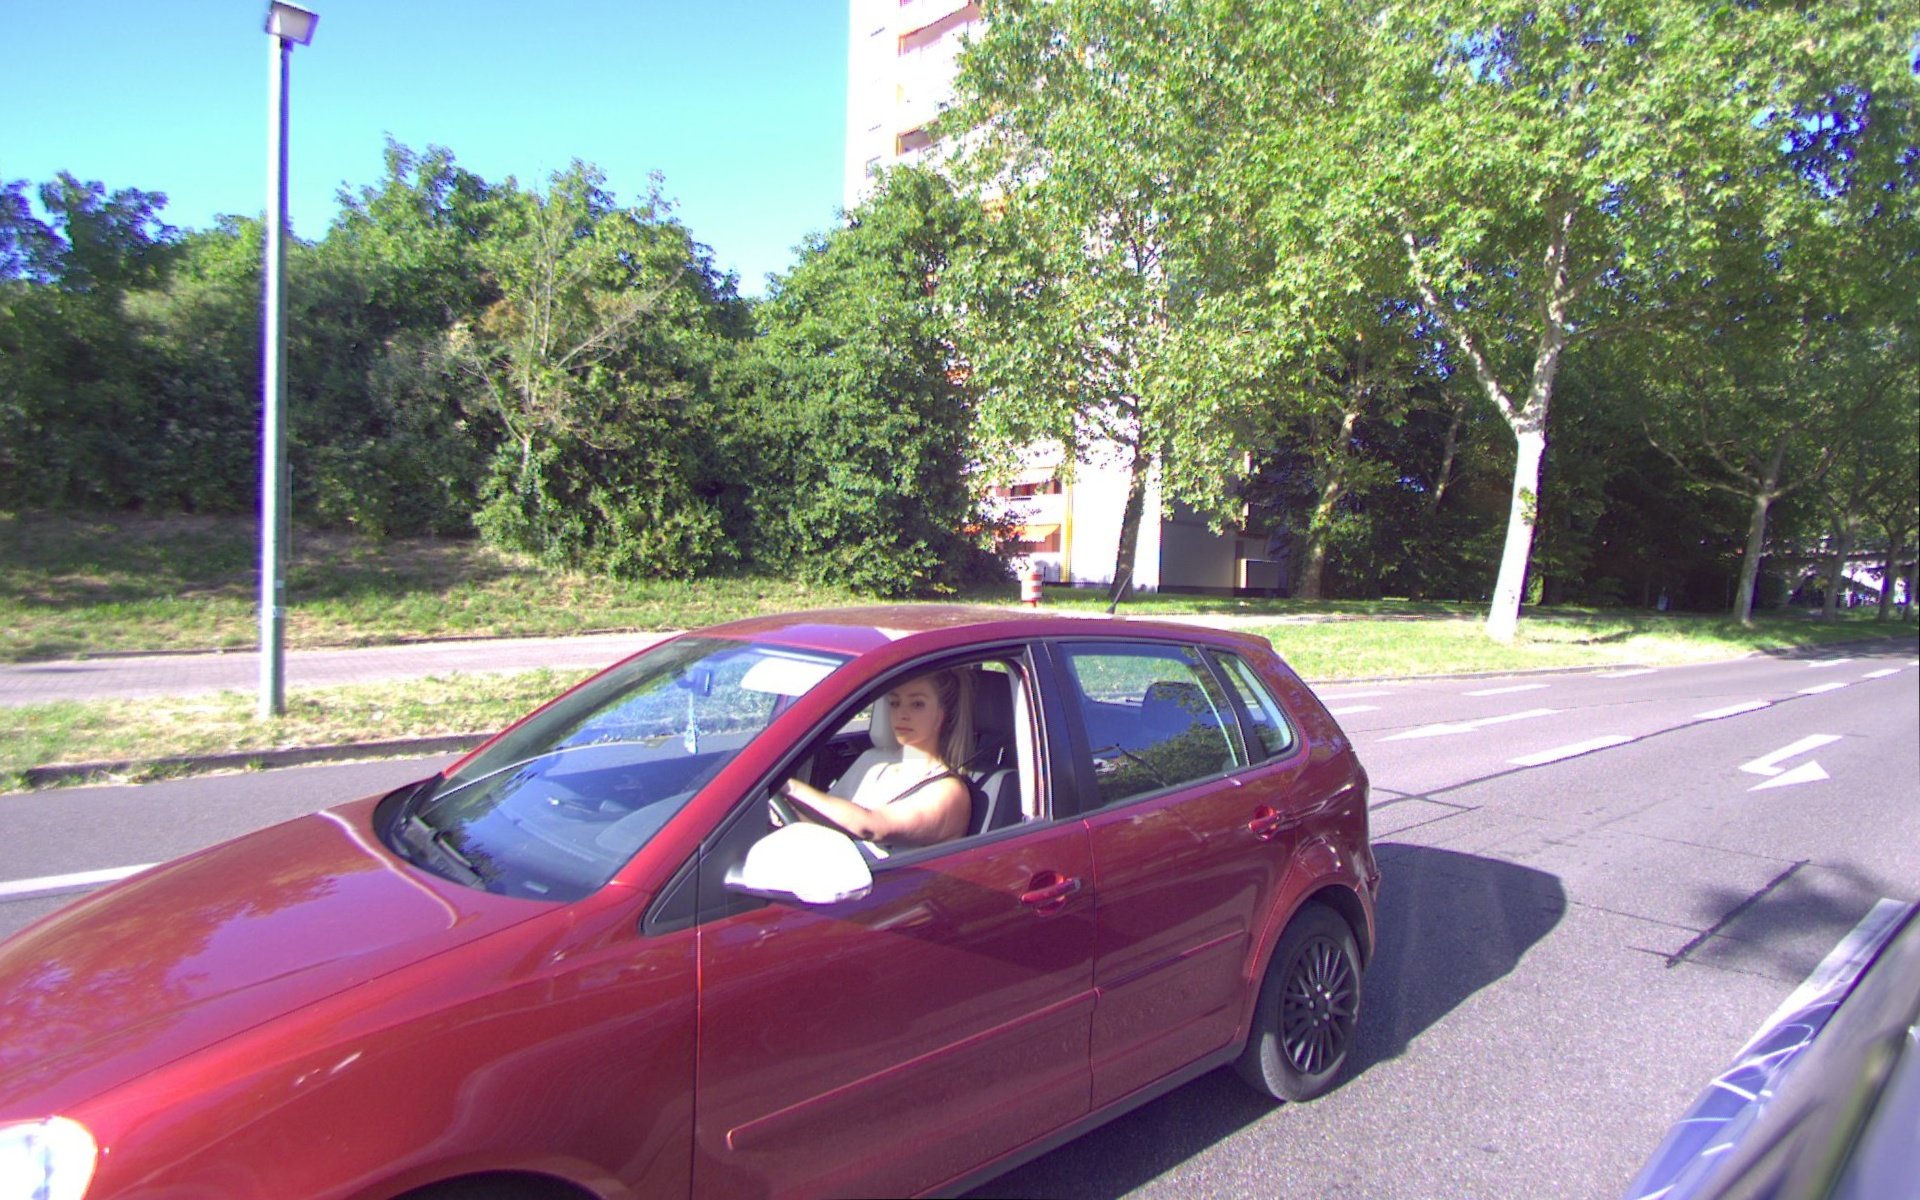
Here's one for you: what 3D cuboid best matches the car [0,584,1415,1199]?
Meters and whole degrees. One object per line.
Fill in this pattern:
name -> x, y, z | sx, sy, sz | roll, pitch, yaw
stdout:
car -> -0.456, 0.697, 2.763 | 3.627, 1.434, 1.626 | 0, 1, -39

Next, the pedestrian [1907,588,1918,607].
pedestrian -> 75.114, -0.164, 79.794 | 0.409, 1.481, 0.399 | 1, 1, -2
